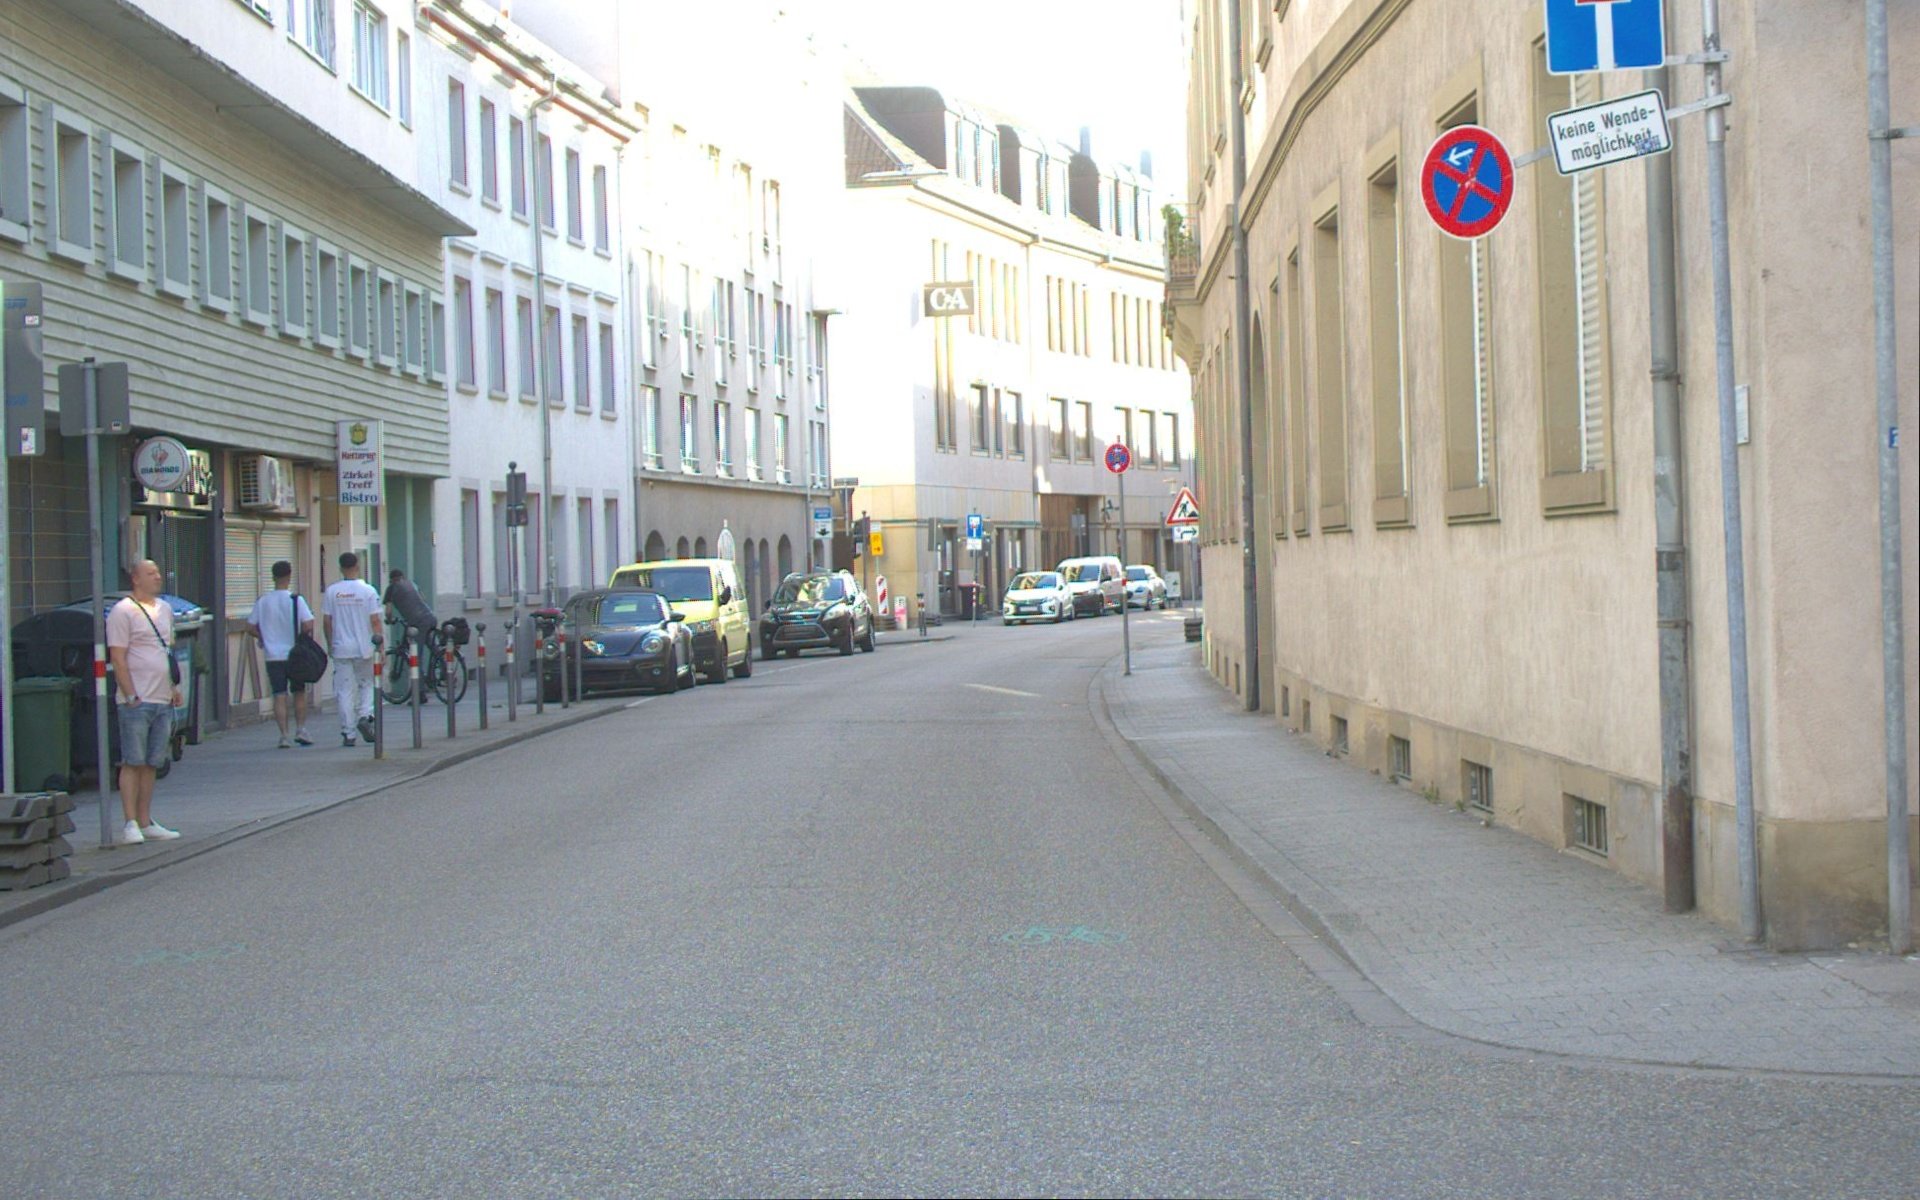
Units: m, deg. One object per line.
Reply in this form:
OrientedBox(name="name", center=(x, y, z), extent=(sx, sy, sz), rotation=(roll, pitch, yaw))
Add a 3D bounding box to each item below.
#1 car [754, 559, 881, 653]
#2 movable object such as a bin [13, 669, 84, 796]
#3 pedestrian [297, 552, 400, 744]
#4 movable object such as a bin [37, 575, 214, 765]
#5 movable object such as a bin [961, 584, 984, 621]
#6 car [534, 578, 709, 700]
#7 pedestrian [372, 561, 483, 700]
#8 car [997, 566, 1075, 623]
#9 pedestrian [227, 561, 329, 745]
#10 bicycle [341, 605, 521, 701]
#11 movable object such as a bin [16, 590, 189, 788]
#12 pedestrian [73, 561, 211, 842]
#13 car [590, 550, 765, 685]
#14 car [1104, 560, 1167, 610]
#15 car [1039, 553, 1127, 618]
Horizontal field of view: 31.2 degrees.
OrientedBox(name="car", center=(-2.834, 0.093, 69.217), extent=(1.740, 1.705, 4.189), rotation=(-4, 0, 8))
OrientedBox(name="movable object such as a bin", center=(-7.038, 1.020, 26.539), extent=(0.393, 0.939, 0.467), rotation=(-2, 1, 0))
OrientedBox(name="pedestrian", center=(-5.674, 0.433, 31.942), extent=(0.698, 1.728, 0.829), rotation=(-3, 0, 2))
OrientedBox(name="movable object such as a bin", center=(-7.054, 0.573, 29.121), extent=(1.122, 1.515, 1.342), rotation=(-2, 1, 0))
OrientedBox(name="movable object such as a bin", center=(0.370, 0.066, 101.157), extent=(0.609, 1.057, 0.713), rotation=(1, 0, 6))
OrientedBox(name="car", center=(-4.657, 0.506, 47.795), extent=(1.819, 1.481, 4.076), rotation=(-4, 0, 2))
OrientedBox(name="pedestrian", center=(-6.775, 0.382, 43.765), extent=(1.079, 1.722, 0.801), rotation=(-2, 0, 25))
OrientedBox(name="car", center=(2.216, -0.170, 99.682), extent=(1.671, 1.502, 3.792), rotation=(-3, 0, 10))
OrientedBox(name="pedestrian", center=(-6.349, 0.484, 32.033), extent=(0.672, 1.664, 0.894), rotation=(-3, 0, 2))
OrientedBox(name="bicycle", center=(-6.739, 0.680, 43.754), extent=(2.131, 1.159, 0.822), rotation=(-2, 0, 25))
OrientedBox(name="movable object such as a bin", center=(-6.854, 0.694, 27.550), extent=(0.968, 1.466, 1.475), rotation=(-2, 2, 0))
OrientedBox(name="pedestrian", center=(-4.936, 0.599, 20.758), extent=(0.493, 1.664, 0.626), rotation=(1, 1, 43))
OrientedBox(name="car", center=(-4.312, 0.231, 53.186), extent=(1.880, 1.860, 4.863), rotation=(-4, 0, 4))
OrientedBox(name="car", center=(5.699, -0.506, 111.312), extent=(1.272, 1.502, 3.399), rotation=(-3, 0, 16))
OrientedBox(name="car", center=(3.793, -0.468, 105.360), extent=(1.671, 1.812, 4.549), rotation=(-3, 0, 15))
